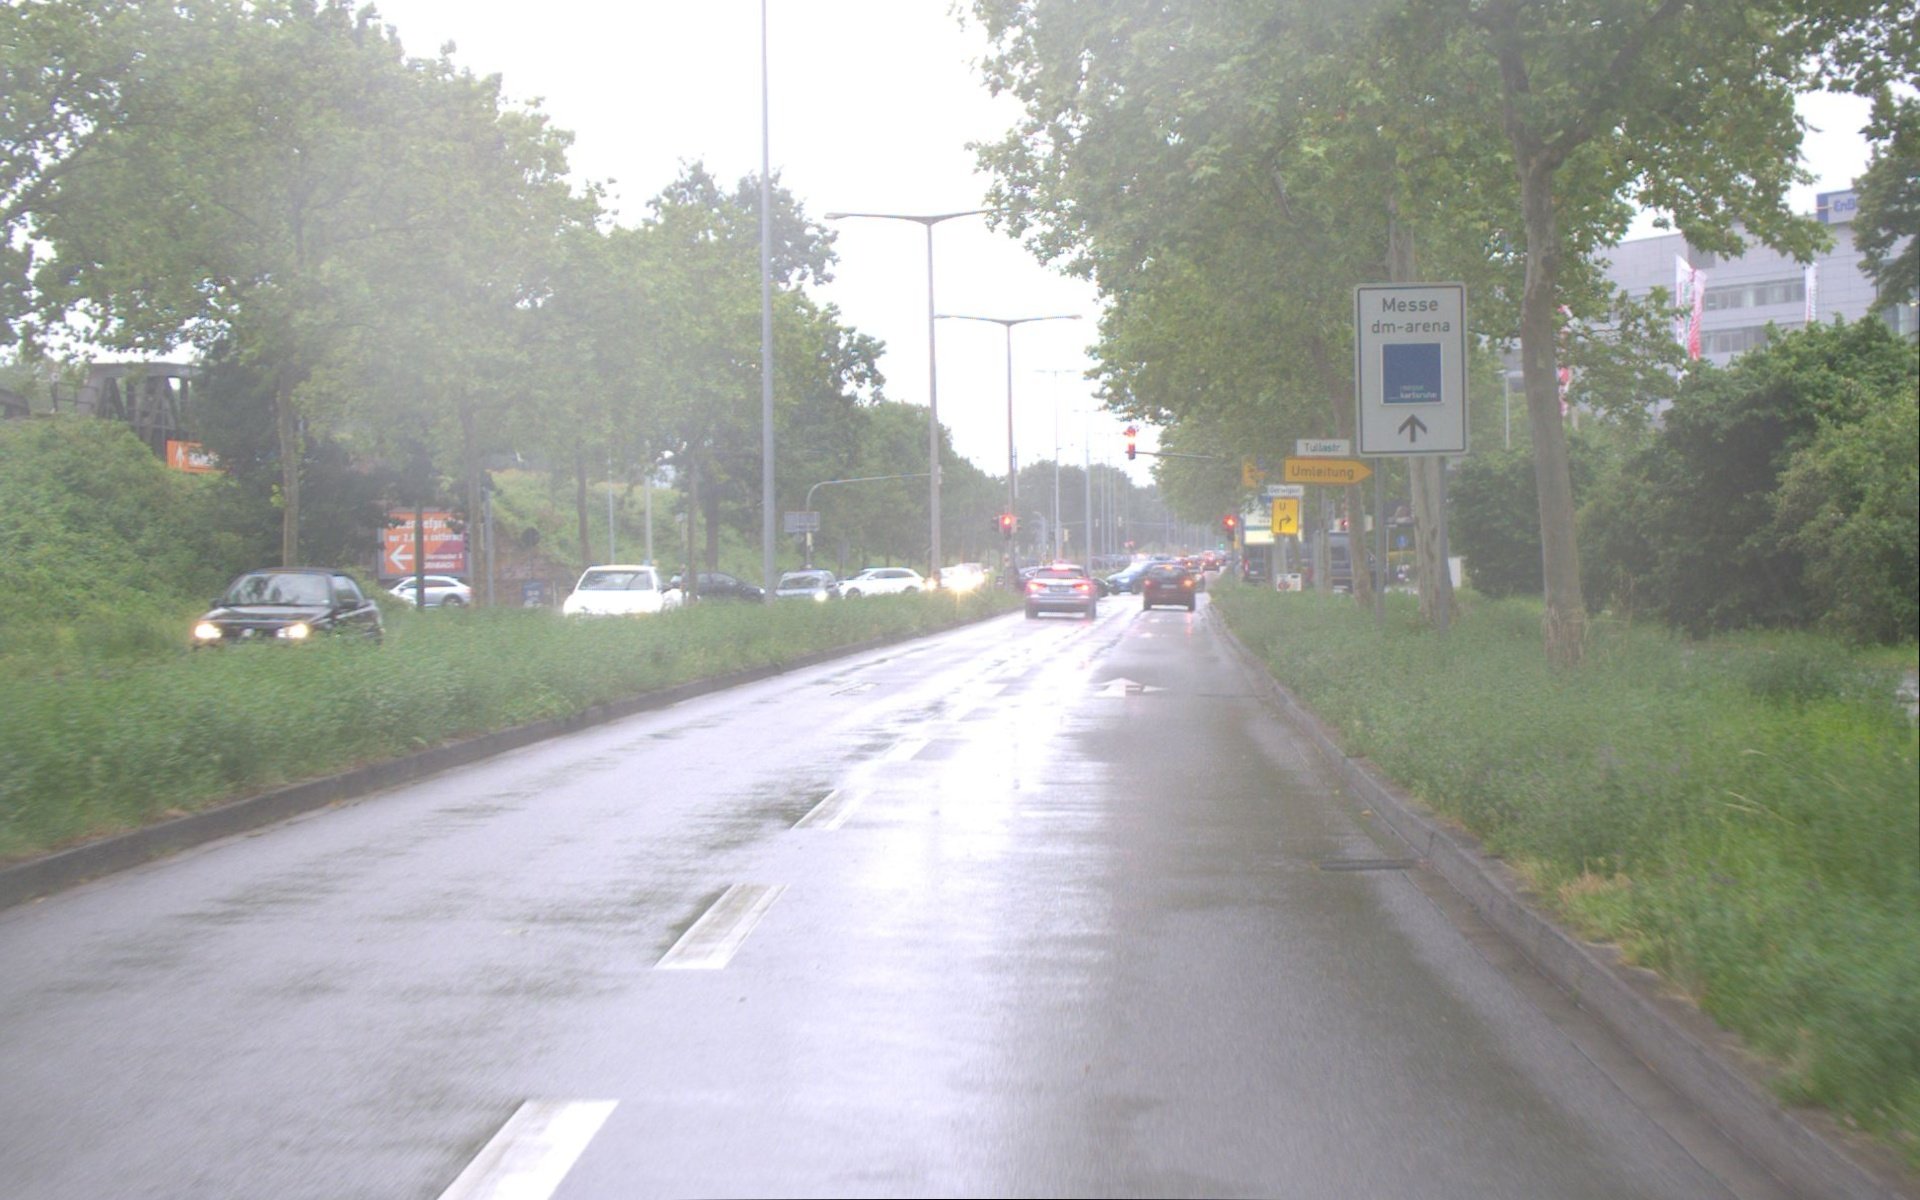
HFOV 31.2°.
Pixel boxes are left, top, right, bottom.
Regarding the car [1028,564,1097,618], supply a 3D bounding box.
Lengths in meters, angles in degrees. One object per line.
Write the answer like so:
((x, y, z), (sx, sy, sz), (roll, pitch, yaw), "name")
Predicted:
((2.808, -0.271, 93.363), (1.690, 1.428, 4.573), (0, 1, 4), "car")

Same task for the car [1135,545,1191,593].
((6.820, -1.043, 115.201), (1.796, 1.532, 4.386), (1, 1, 4), "car")

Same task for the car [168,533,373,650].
((-8.720, -0.144, 43.766), (1.631, 1.421, 4.000), (0, 1, 3), "car")

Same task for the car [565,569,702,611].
((-11.340, -0.367, 119.776), (4.641, 1.440, 1.937), (0, 1, -2), "car")

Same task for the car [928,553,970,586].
((-0.505, -1.443, 163.962), (1.713, 1.525, 4.000), (-1, 1, 4), "car")

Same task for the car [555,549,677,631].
((-6.512, -0.221, 65.498), (1.702, 1.489, 4.204), (0, 1, 3), "car")
